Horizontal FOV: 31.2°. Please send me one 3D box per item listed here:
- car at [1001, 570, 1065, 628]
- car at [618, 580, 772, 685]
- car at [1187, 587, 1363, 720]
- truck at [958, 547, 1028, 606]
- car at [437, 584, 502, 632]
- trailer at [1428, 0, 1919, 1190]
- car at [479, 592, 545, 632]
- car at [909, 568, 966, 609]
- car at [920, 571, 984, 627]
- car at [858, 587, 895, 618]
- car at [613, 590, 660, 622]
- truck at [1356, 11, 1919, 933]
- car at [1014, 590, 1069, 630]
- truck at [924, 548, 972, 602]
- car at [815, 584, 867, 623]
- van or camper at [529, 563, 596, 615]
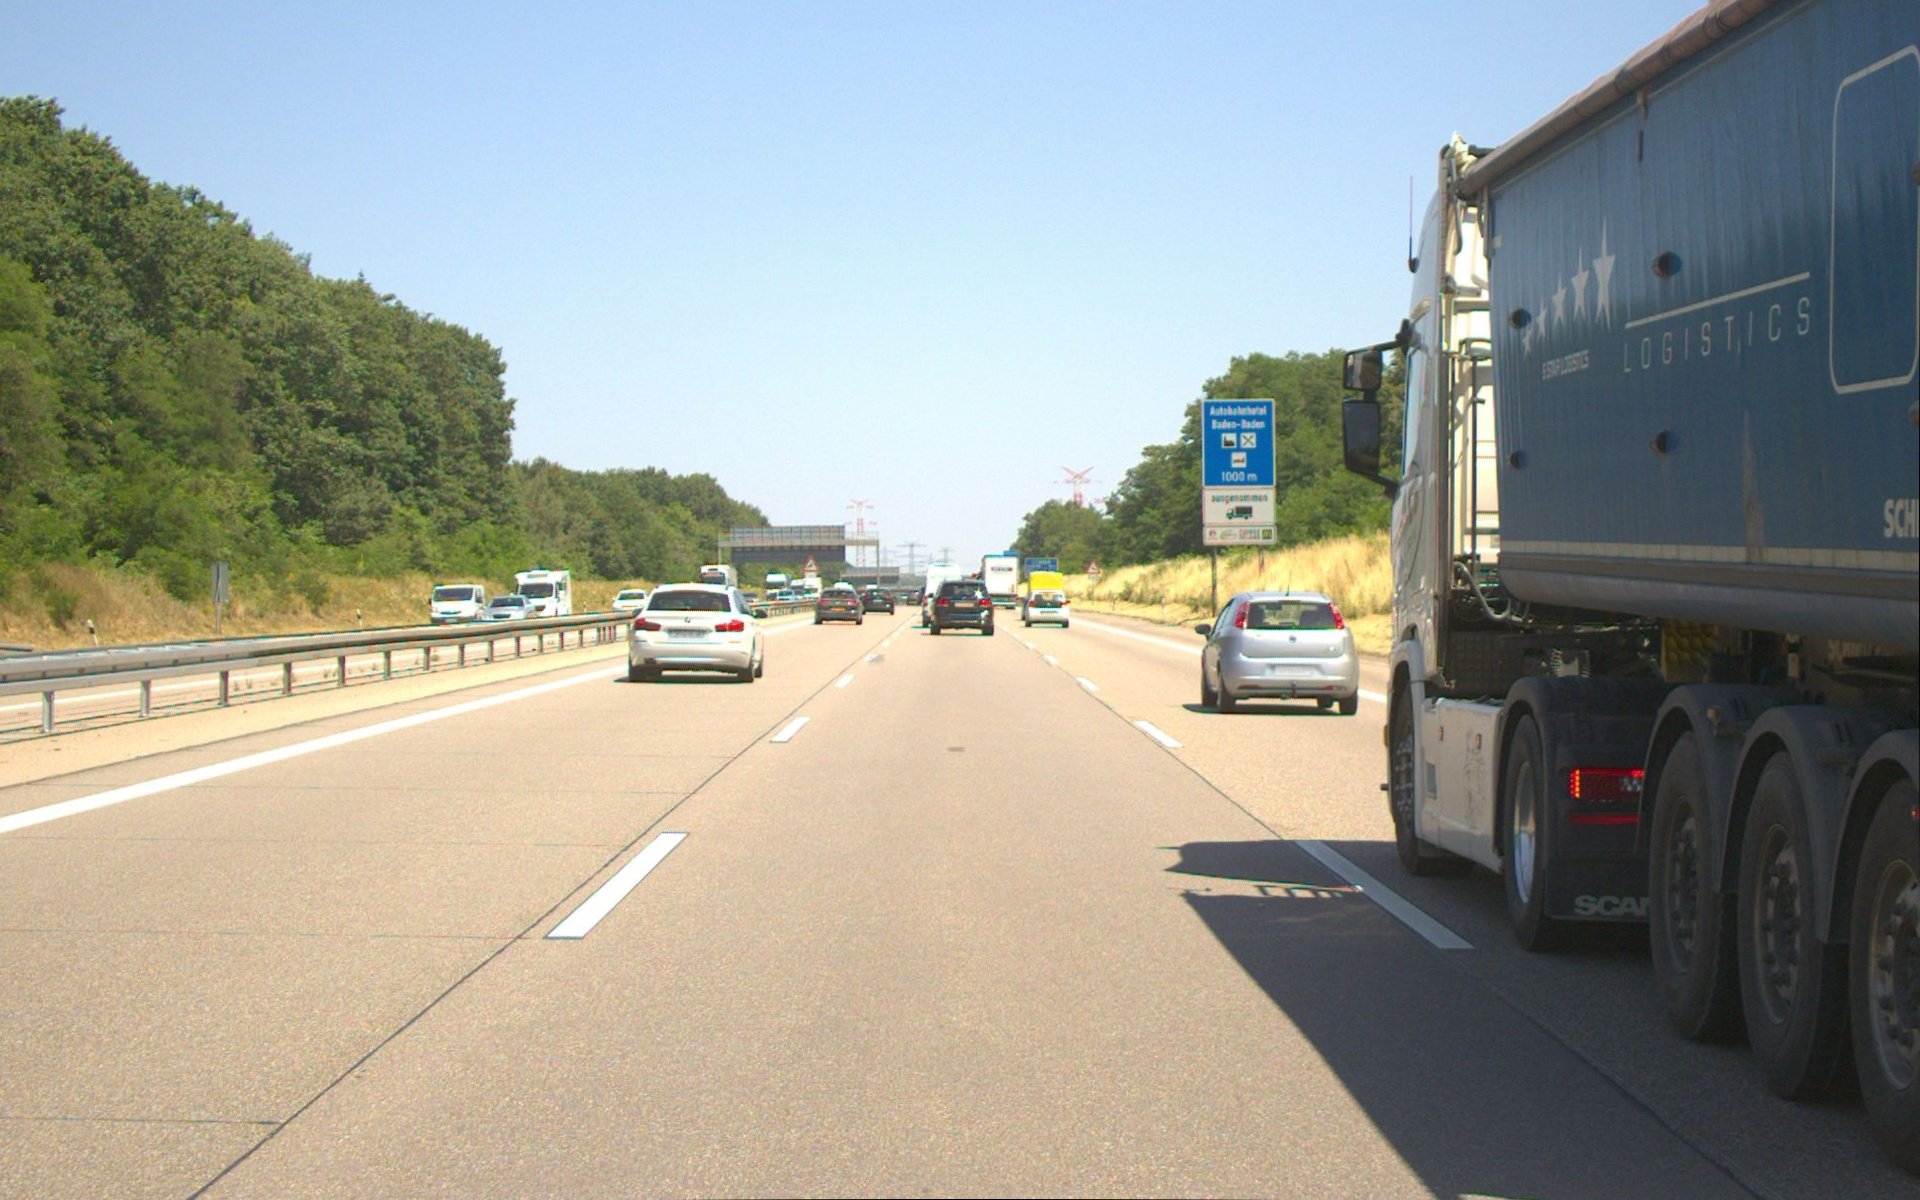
[{"bbox_3d":[3.396,-0.039,161.403,2.666,2.625,6.113,1,0,-2],"label":"car"},{"bbox_3d":[-4.022,0.469,52.892,1.963,1.498,5.405,1,0,0],"label":"car"},{"bbox_3d":[3.827,0.620,42.290,1.719,1.486,3.737,1,1,-1],"label":"car"},{"bbox_3d":[2.515,-1.822,264.845,3.991,4.300,9.883,2,0,-7],"label":"truck"},{"bbox_3d":[-20.956,0.317,147.018,1.993,1.946,5.244,-2,0,0],"label":"car"},{"bbox_3d":[3.622,-0.535,11.815,2.737,3.746,9.109,0,1,0],"label":"trailer"},{"bbox_3d":[-17.712,0.464,136.139,1.851,1.522,5.204,-1,0,1],"label":"car"},{"bbox_3d":[-0.832,-0.451,127.498,1.894,1.464,4.261,1,1,2],"label":"car"},{"bbox_3d":[-0.267,-0.046,107.673,1.831,1.666,4.000,2,0,-2],"label":"car"},{"bbox_3d":[-4.522,0.145,186.723,1.875,1.575,3.928,1,1,0],"label":"car"},{"bbox_3d":[-17.667,0.320,188.074,1.993,1.688,5.244,-2,0,0],"label":"car"},{"bbox_3d":[3.643,-0.558,16.969,2.684,3.746,5.944,0,1,0],"label":"truck"},{"bbox_3d":[3.147,0.381,133.235,1.821,1.486,3.737,1,0,-3],"label":"car"},{"bbox_3d":[-0.709,-1.343,189.861,2.428,2.874,6.205,1,0,-2],"label":"truck"},{"bbox_3d":[-4.614,0.135,133.622,1.832,1.427,4.999,1,1,0],"label":"car"},{"bbox_3d":[-20.529,-0.579,177.836,2.462,2.566,7.770,-2,0,0],"label":"van or camper"}]
